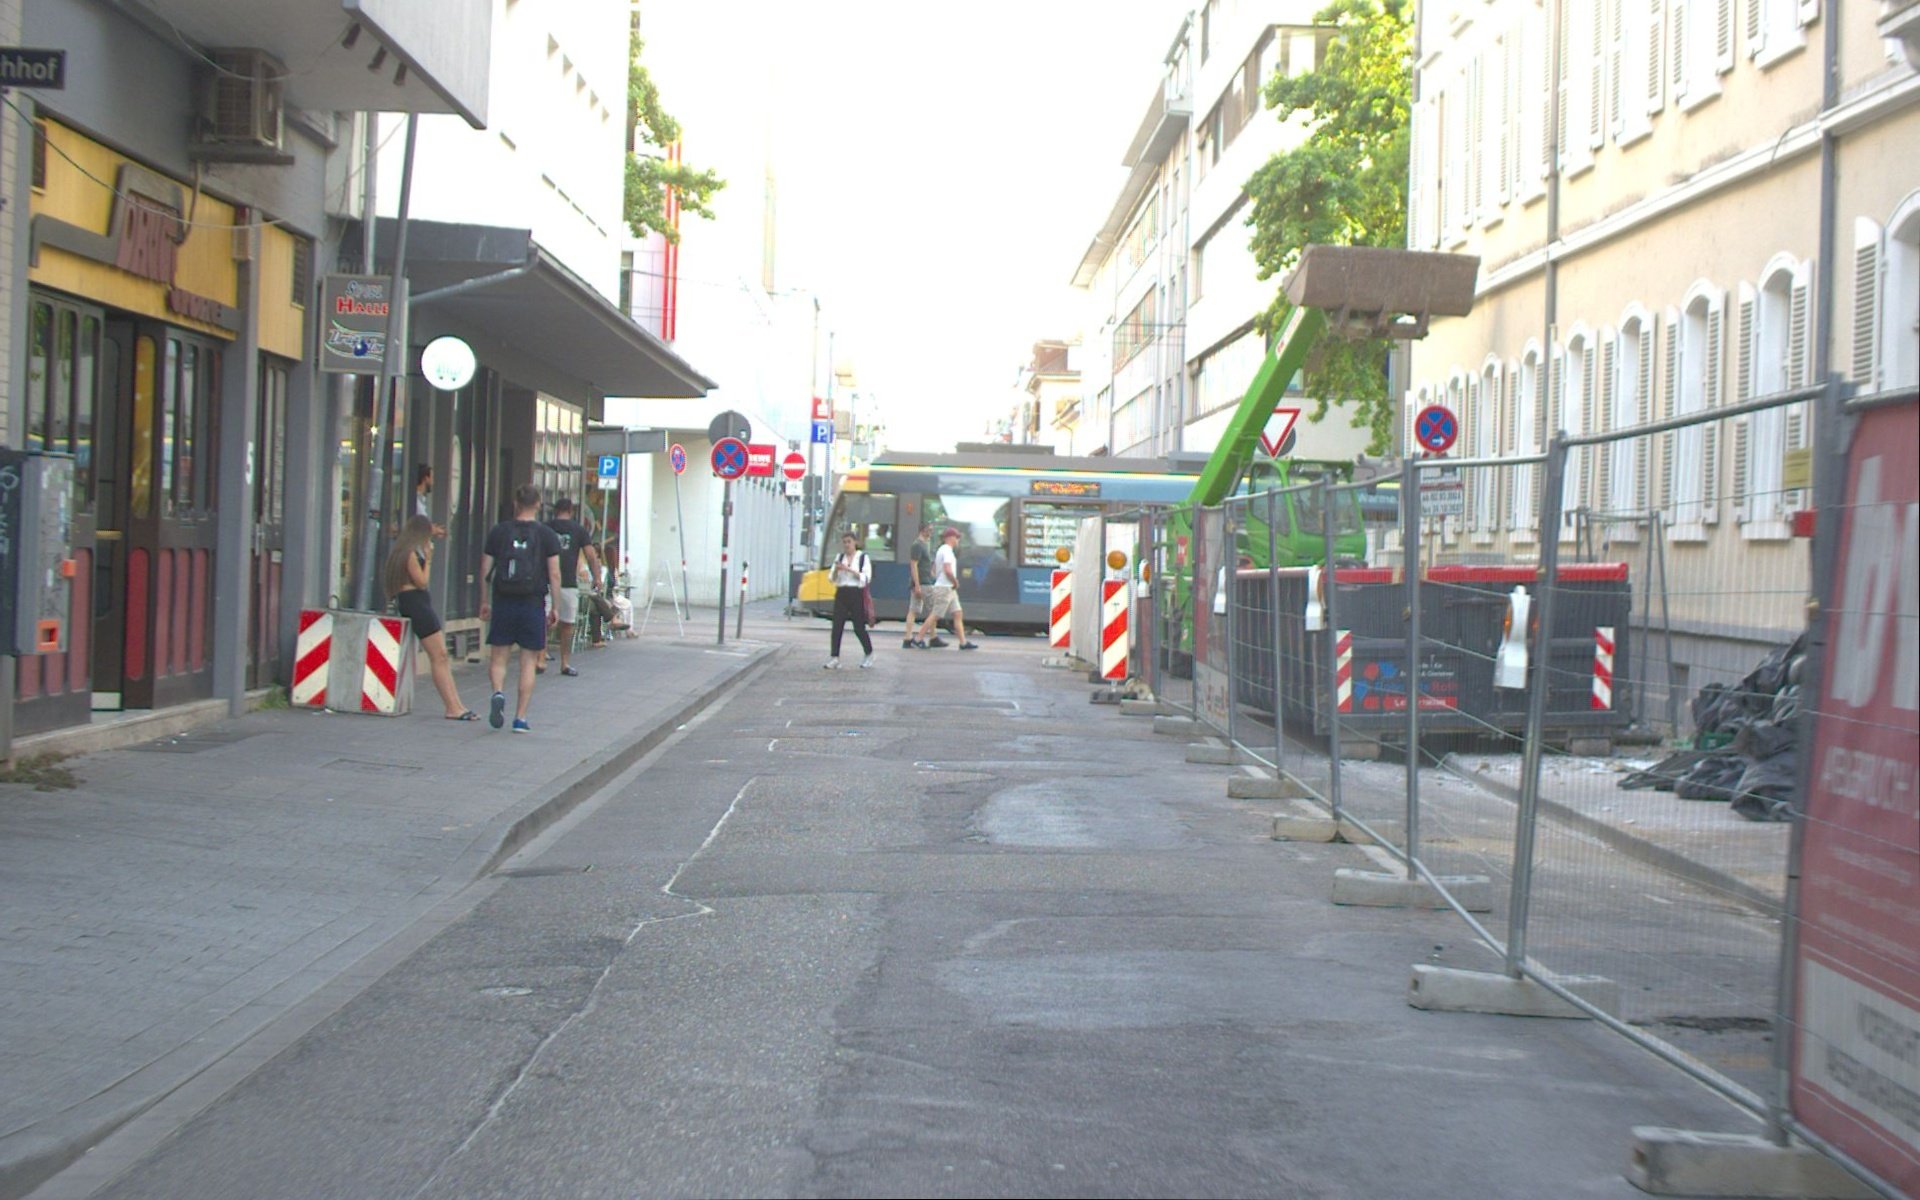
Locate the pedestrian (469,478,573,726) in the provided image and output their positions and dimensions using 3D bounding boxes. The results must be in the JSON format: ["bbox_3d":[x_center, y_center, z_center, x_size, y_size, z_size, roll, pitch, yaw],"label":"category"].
[{"bbox_3d":[-3.264,0.008,25.606,0.629,1.802,0.647,2,1,1],"label":"pedestrian"}]

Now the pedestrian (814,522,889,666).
[{"bbox_3d":[-1.340,-0.075,42.431,0.720,1.734,0.647,2,1,15],"label":"pedestrian"}]

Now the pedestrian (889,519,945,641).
[{"bbox_3d":[-0.648,-0.306,51.606,0.645,1.803,0.631,2,1,-17],"label":"pedestrian"}]

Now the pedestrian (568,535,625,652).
[{"bbox_3d":[-4.513,-0.084,42.700,0.558,1.386,0.893,3,2,-1],"label":"pedestrian"}]

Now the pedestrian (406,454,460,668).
[{"bbox_3d":[-5.007,-0.369,32.685,0.410,2.007,0.454,2,1,-3],"label":"pedestrian"}]

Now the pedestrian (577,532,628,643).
[{"bbox_3d":[-4.555,-0.160,43.819,0.542,1.383,0.625,2,1,0],"label":"pedestrian"}]

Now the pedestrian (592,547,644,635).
[{"bbox_3d":[-4.635,-0.124,46.639,0.618,1.168,0.788,2,1,-1],"label":"pedestrian"}]

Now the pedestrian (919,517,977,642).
[{"bbox_3d":[-0.176,-0.306,50.432,0.645,1.803,0.631,2,1,-17],"label":"pedestrian"}]

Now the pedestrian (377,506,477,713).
[{"bbox_3d":[-4.114,0.066,26.505,0.645,1.559,0.631,2,1,-15],"label":"pedestrian"}]

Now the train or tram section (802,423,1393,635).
[{"bbox_3d":[2.442,-1.298,63.064,10.486,3.448,3.000,2,1,-1],"label":"train or tram section"}]

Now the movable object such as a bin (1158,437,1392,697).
[{"bbox_3d":[4.037,-0.482,44.929,2.470,3.120,4.298,3,2,-1],"label":"movable object such as a bin"}]

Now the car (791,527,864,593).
[{"bbox_3d":[-2.928,-0.894,76.291,1.474,1.393,3.332,2,1,-1],"label":"car"}]

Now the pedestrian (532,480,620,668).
[{"bbox_3d":[-3.889,-0.263,34.823,0.654,1.880,0.574,1,1,-31],"label":"pedestrian"}]
